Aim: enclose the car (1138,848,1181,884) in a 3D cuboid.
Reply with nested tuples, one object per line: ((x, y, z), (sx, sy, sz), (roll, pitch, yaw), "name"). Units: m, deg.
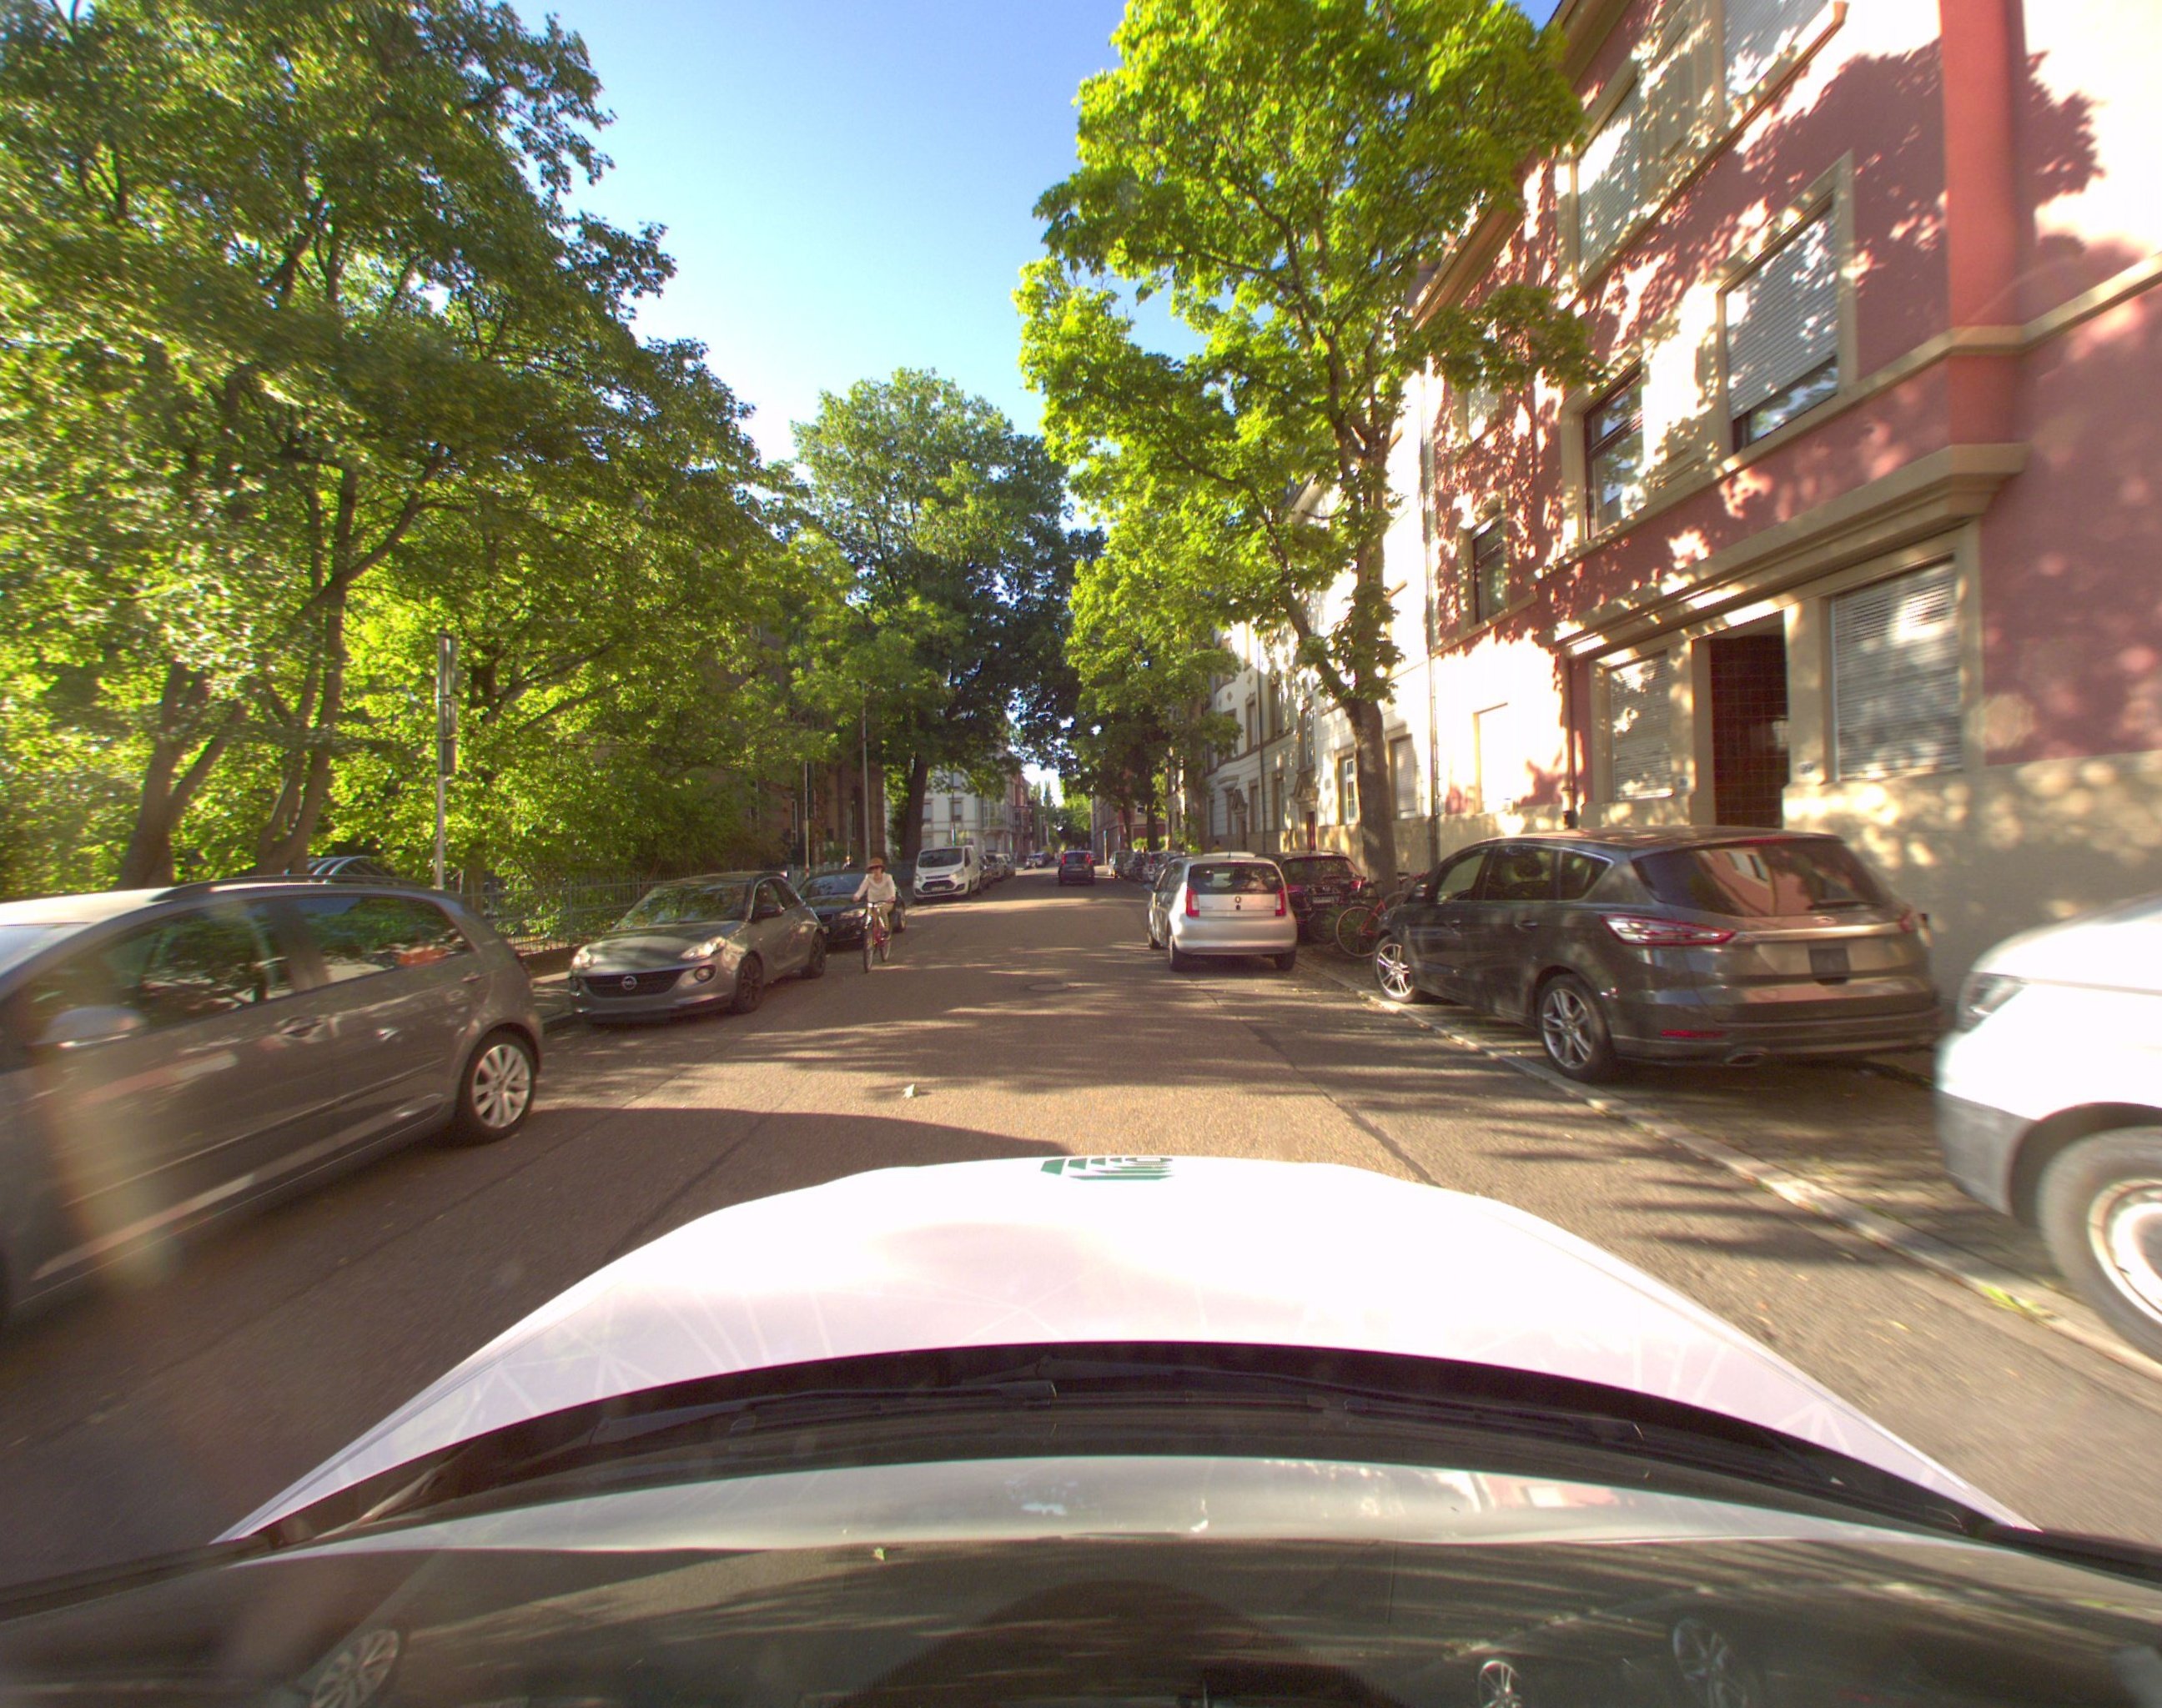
((3.450, 0.498, 36.320), (1.515, 1.510, 3.542), (-2, 0, -1), "car")

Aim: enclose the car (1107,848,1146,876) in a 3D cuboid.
((2.733, 0.462, 49.888), (1.785, 1.551, 4.403), (-2, 0, -4), "car")

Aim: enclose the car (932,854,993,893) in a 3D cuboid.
((-5.129, 0.813, 35.842), (1.995, 1.457, 4.604), (-4, 0, -1), "car")

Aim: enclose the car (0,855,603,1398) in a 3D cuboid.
((-4.165, 0.874, 3.323), (1.776, 1.590, 4.466), (-4, 0, -2), "car")

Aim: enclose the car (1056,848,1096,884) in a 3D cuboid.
((-0.276, 0.508, 36.789), (1.629, 1.550, 3.260), (-1, 0, -3), "car")

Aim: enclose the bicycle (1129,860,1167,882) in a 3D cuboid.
((3.263, 0.824, 39.838), (1.764, 1.039, 0.606), (-1, 0, -2), "bicycle")

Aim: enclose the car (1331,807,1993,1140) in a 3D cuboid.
((3.931, 0.622, 6.879), (1.881, 1.716, 4.939), (-2, 0, -3), "car")

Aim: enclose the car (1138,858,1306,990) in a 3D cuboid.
((1.866, 0.864, 11.892), (1.674, 1.544, 3.797), (-1, 0, -2), "car")

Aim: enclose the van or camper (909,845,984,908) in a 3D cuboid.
((-4.888, 0.745, 30.333), (1.917, 1.979, 5.457), (-5, 0, -2), "van or camper")

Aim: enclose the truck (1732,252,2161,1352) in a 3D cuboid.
((4.008, -0.154, 0.470), (2.068, 2.968, 6.104), (-4, 0, -2), "truck")

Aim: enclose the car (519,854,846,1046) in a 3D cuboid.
((-4.241, 0.878, 9.525), (1.671, 1.572, 4.150), (-5, 1, 0), "car")

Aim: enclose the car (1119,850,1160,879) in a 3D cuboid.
((3.137, 0.527, 44.481), (1.608, 1.478, 3.863), (-2, 0, -5), "car")

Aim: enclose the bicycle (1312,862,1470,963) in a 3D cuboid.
((4.065, 0.751, 10.744), (1.806, 1.167, 0.569), (-4, 0, -3), "bicycle")

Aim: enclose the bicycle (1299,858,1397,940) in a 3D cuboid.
((3.991, 0.670, 12.193), (1.304, 1.140, 0.327), (-3, 0, -2), "bicycle")

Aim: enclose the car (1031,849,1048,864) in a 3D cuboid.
((-5.294, 0.275, 104.344), (1.769, 1.698, 3.924), (-5, 0, 0), "car")

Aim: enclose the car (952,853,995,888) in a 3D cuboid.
((-5.318, 0.783, 40.738), (1.597, 1.459, 4.025), (-5, 1, -2), "car")

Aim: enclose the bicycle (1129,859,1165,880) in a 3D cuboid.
((3.304, 0.792, 41.061), (1.710, 0.949, 0.733), (-3, 0, -2), "bicycle")

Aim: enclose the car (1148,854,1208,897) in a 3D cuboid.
((3.548, 0.753, 30.390), (1.617, 1.394, 4.155), (-2, 0, -1), "car")

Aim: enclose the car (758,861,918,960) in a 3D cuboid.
((-4.484, 0.955, 15.816), (1.710, 1.395, 4.775), (-6, 0, -2), "car")

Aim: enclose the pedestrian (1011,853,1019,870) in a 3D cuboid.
((-7.103, 0.785, 87.920), (0.718, 1.839, 0.628), (-1, 0, 10), "pedestrian")

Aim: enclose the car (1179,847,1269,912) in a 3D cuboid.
((3.677, 0.607, 21.495), (1.592, 1.488, 3.746), (-3, 0, -1), "car")

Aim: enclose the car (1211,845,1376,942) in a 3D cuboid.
((3.760, 0.614, 15.276), (1.782, 1.513, 4.456), (-1, 0, -2), "car")

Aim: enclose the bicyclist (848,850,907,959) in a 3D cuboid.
((-2.913, 0.703, 11.708), (0.649, 1.509, 0.625), (-1, 0, 0), "bicyclist")

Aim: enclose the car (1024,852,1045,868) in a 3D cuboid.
((-4.730, 0.562, 82.800), (1.791, 1.431, 3.924), (-5, 0, 0), "car")

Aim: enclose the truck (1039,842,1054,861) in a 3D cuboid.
((-5.694, -0.461, 135.382), (2.064, 2.925, 5.067), (-6, 0, 0), "truck")

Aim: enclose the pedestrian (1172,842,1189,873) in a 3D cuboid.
((5.490, 0.194, 44.963), (0.775, 1.694, 0.875), (-1, 0, 1), "pedestrian")

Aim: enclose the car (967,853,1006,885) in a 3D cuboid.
((-5.308, 0.809, 46.075), (1.821, 1.554, 4.128), (-6, 0, -4), "car")

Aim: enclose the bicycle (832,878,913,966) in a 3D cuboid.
((-2.906, 0.912, 11.503), (0.662, 1.077, 1.685), (-1, 0, 1), "bicycle")

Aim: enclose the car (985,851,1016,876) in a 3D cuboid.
((-5.494, 0.626, 56.075), (1.692, 1.550, 3.916), (-5, 1, -2), "car")

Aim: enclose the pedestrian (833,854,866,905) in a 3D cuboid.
((-7.325, 0.812, 25.806), (0.878, 1.577, 0.529), (-1, 0, -1), "pedestrian")

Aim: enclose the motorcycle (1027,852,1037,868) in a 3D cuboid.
((-4.808, 0.562, 79.500), (0.697, 1.460, 1.744), (-3, 0, -11), "motorcycle")

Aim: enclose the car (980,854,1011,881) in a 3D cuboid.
((-5.363, 0.808, 50.979), (1.745, 1.474, 4.454), (-6, 1, -7), "car")

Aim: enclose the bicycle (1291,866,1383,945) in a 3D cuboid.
((3.710, 0.740, 11.837), (1.197, 1.075, 0.298), (-3, 0, -2), "bicycle")

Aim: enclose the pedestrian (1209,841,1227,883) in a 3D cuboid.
((5.613, 0.318, 33.401), (0.593, 1.701, 0.689), (-1, 0, 0), "pedestrian")

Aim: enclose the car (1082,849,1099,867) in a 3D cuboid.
((0.940, 0.379, 80.514), (1.658, 1.669, 3.756), (-1, 0, 0), "car")

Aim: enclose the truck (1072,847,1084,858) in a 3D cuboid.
((-0.521, -0.279, 149.243), (1.988, 1.992, 3.998), (-2, 0, -1), "truck")

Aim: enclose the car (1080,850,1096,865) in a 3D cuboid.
((0.693, 0.374, 85.000), (1.658, 1.505, 3.756), (-1, 0, 0), "car")

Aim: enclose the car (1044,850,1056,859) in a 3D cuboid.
((-5.756, 0.111, 150.645), (1.956, 1.479, 3.924), (-5, 0, 0), "car")
